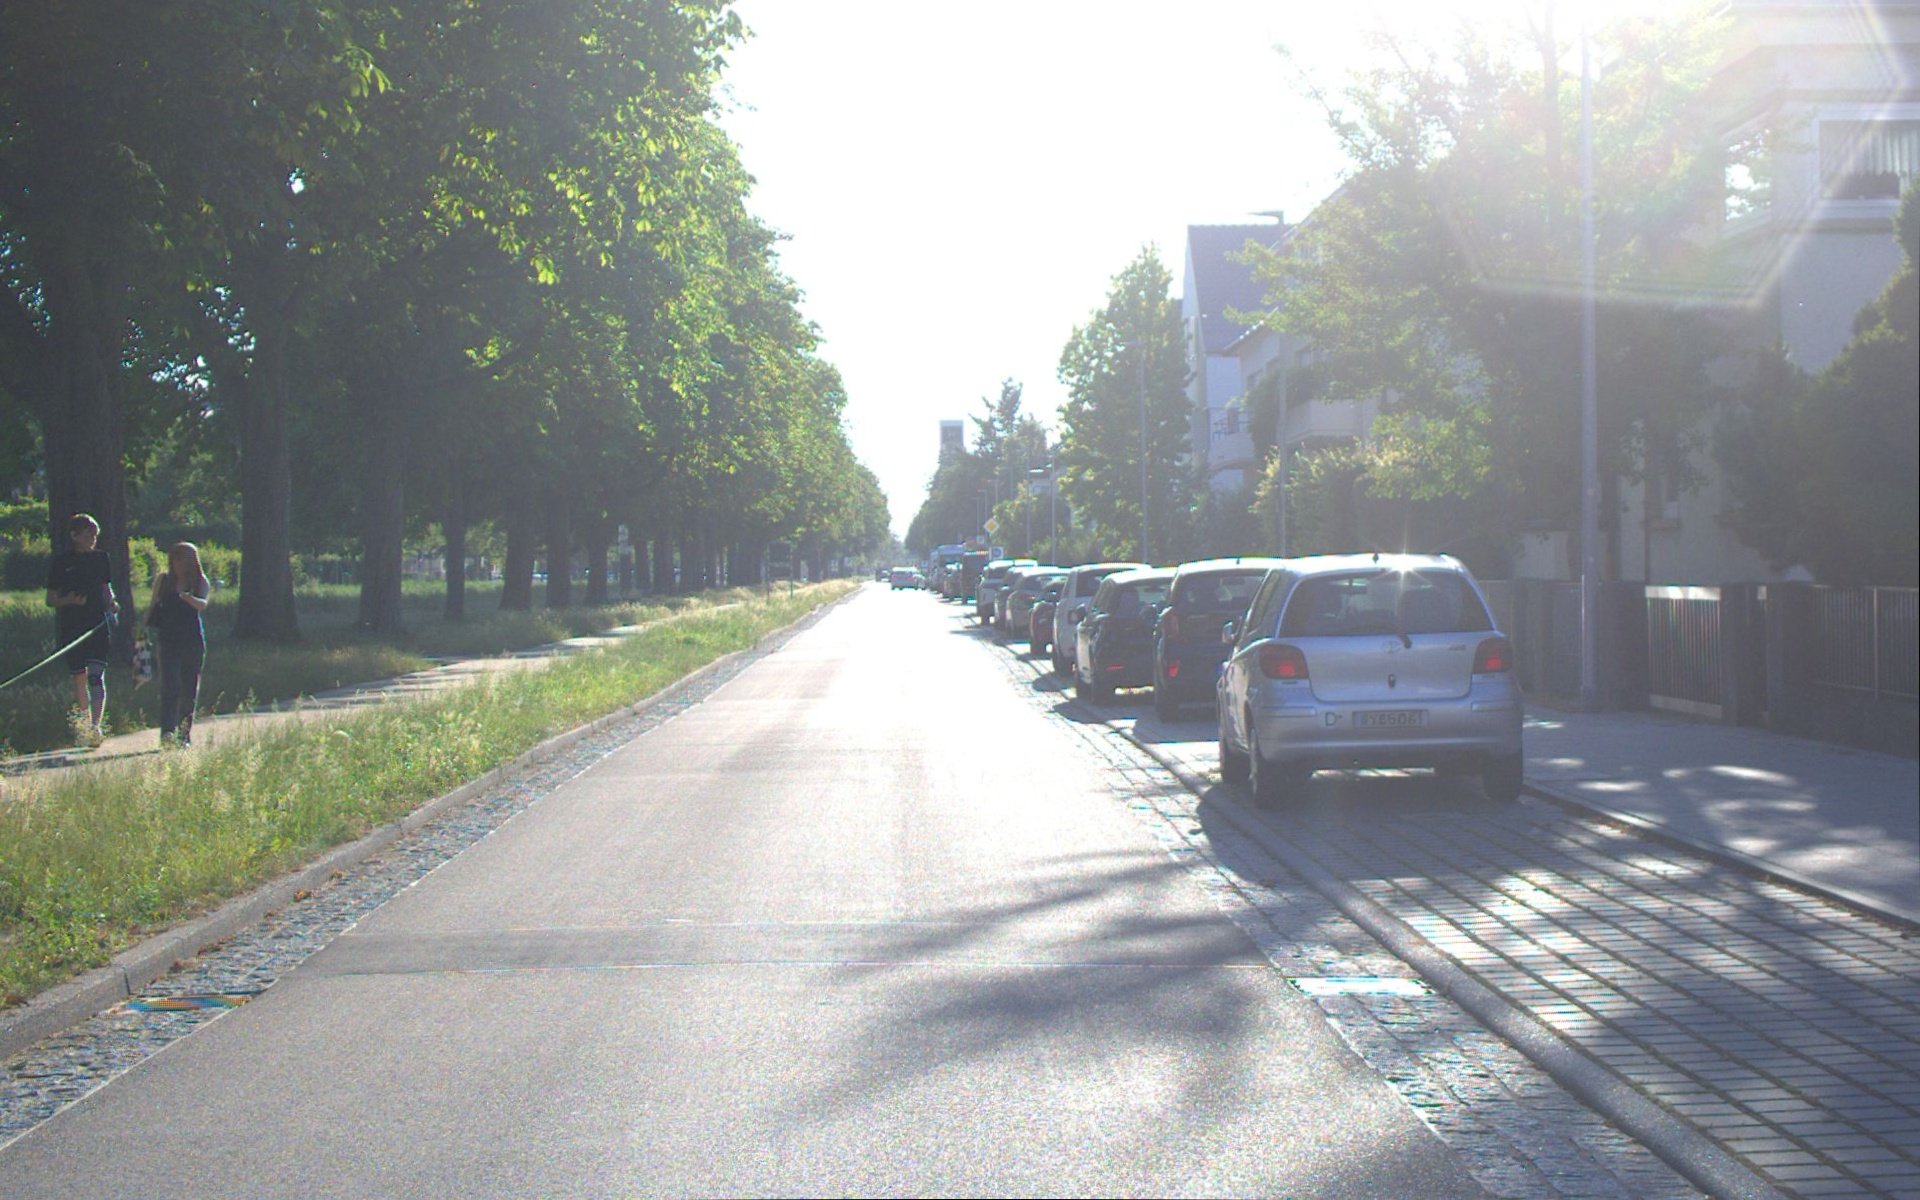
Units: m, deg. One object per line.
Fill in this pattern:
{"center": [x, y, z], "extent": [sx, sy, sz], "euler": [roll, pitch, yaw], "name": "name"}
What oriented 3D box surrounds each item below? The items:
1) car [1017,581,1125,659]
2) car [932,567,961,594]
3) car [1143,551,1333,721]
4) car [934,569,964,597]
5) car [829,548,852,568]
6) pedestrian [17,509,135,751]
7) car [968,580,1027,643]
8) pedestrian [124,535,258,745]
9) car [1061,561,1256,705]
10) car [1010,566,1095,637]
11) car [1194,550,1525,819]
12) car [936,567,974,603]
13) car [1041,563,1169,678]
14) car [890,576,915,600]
{"center": [1.842, 0.315, 57.823], "extent": [1.693, 1.244, 3.497], "euler": [-1, 0, 0], "name": "car"}
{"center": [-0.755, -1.127, 195.975], "extent": [1.652, 1.536, 3.266], "euler": [0, 0, 0], "name": "car"}
{"center": [2.628, 0.322, 33.134], "extent": [1.658, 1.489, 3.715], "euler": [-2, 0, 3], "name": "car"}
{"center": [-0.591, -0.939, 190.716], "extent": [1.652, 1.536, 3.266], "euler": [0, 0, 0], "name": "car"}
{"center": [-9.086, -3.177, 261.608], "extent": [1.652, 1.536, 3.267], "euler": [0, 0, -1], "name": "car"}
{"center": [-6.785, 0.219, 26.425], "extent": [0.624, 1.825, 0.886], "euler": [-1, 1, 3], "name": "pedestrian"}
{"center": [0.975, 0.284, 89.960], "extent": [1.498, 1.561, 3.266], "euler": [-1, 0, 0], "name": "car"}
{"center": [-5.999, 0.300, 26.861], "extent": [0.783, 1.609, 0.952], "euler": [-1, 1, 3], "name": "pedestrian"}
{"center": [2.155, 0.350, 38.372], "extent": [1.736, 1.444, 4.197], "euler": [-2, 0, -2], "name": "car"}
{"center": [1.903, 0.018, 71.287], "extent": [1.652, 1.391, 3.266], "euler": [-1, 0, 0], "name": "car"}
{"center": [2.473, 0.470, 22.030], "extent": [1.627, 1.499, 3.633], "euler": [-3, 1, 0], "name": "car"}
{"center": [-0.225, -0.660, 151.789], "extent": [1.652, 1.536, 3.266], "euler": [0, 0, 0], "name": "car"}
{"center": [1.984, 0.261, 47.840], "extent": [1.592, 1.505, 3.591], "euler": [-1, 0, 0], "name": "car"}
{"center": [-3.860, -0.807, 230.690], "extent": [1.652, 1.536, 3.267], "euler": [0, 0, -1], "name": "car"}
